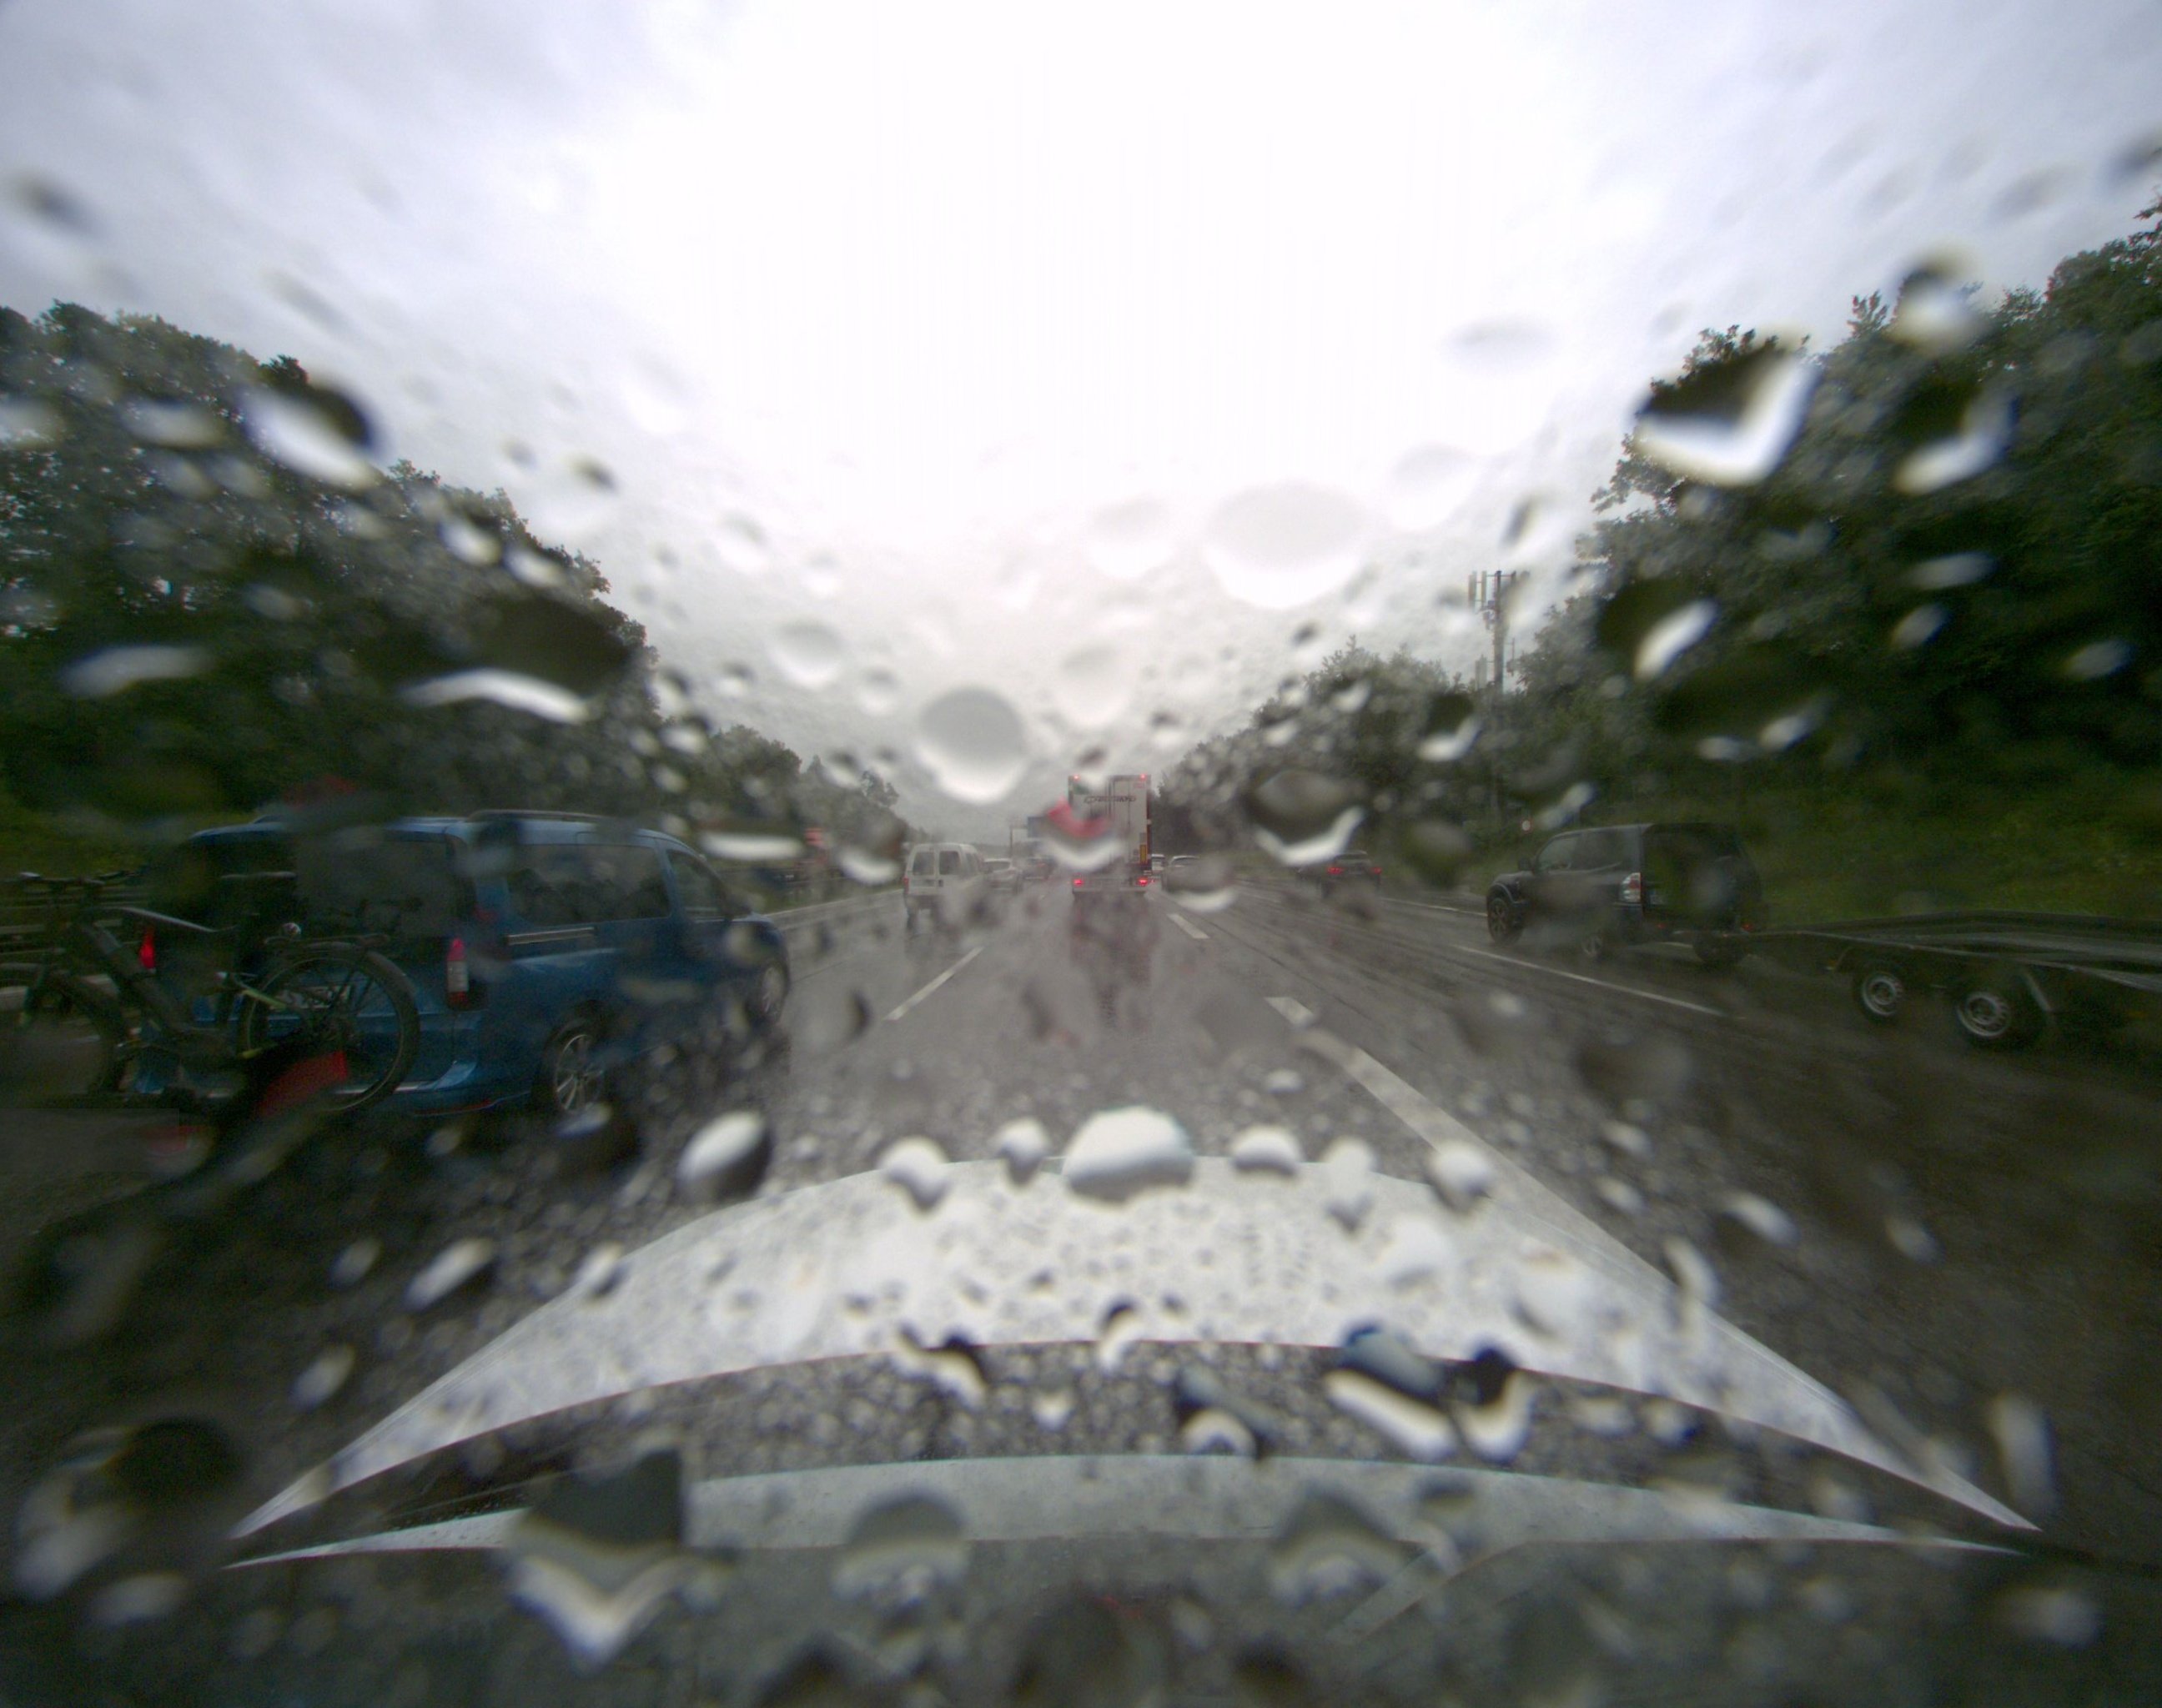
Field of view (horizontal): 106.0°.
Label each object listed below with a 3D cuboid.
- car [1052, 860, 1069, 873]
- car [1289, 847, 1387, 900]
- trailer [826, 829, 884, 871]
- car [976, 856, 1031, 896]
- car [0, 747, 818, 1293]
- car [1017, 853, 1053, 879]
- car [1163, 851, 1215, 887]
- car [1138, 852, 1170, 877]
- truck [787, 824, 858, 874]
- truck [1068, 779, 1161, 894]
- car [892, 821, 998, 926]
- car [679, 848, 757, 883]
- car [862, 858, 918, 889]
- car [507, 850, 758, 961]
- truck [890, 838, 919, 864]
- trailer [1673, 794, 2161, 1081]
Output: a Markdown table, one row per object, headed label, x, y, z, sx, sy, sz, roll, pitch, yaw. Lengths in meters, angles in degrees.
| label | x | y | z | sx | sy | sz | roll | pitch | yaw |
| --- | --- | --- | --- | --- | --- | --- | --- | --- | --- |
| car | -2.277 | 1.429 | 91.442 | 1.840 | 1.330 | 4.464 | -1 | 0 | -1 |
| car | 8.374 | 0.575 | 26.973 | 1.981 | 1.583 | 4.771 | -1 | 0 | 3 |
| trailer | -21.896 | -0.372 | 79.383 | 2.672 | 3.818 | 9.012 | -1 | 0 | 2 |
| car | -3.364 | 0.930 | 36.123 | 1.838 | 1.591 | 4.074 | -1 | 0 | 2 |
| car | -3.824 | 0.581 | 5.404 | 2.260 | 1.912 | 5.020 | -1 | 0 | 3 |
| car | -2.953 | 0.725 | 53.268 | 1.838 | 1.591 | 4.469 | -1 | 0 | 3 |
| car | 4.659 | 0.611 | 35.761 | 1.882 | 1.425 | 4.486 | -1 | 0 | 3 |
| car | 4.635 | 0.658 | 52.146 | 1.838 | 1.522 | 4.346 | -1 | 0 | 2 |
| truck | -22.193 | -0.414 | 70.627 | 2.694 | 3.931 | 10.029 | -1 | 0 | 1 |
| truck | 1.212 | -0.505 | 30.969 | 2.862 | 3.562 | 11.305 | -1 | 0 | 2 |
| car | -3.622 | 0.467 | 22.664 | 2.207 | 2.573 | 5.012 | -1 | 0 | -2 |
| car | -17.737 | 0.527 | 40.022 | 1.853 | 1.596 | 4.003 | -1 | 0 | 3 |
| car | -10.587 | 1.048 | 45.595 | 2.085 | 1.504 | 4.751 | -2 | 0 | -2 |
| car | -7.409 | 0.738 | 14.071 | 1.840 | 1.591 | 4.466 | -1 | 0 | 0 |
| truck | -27.242 | -0.459 | 126.005 | 3.010 | 3.818 | 6.264 | -1 | 0 | 0 |
| trailer | 7.666 | 0.481 | 6.581 | 2.234 | 1.714 | 5.085 | -1 | 0 | 2 |
